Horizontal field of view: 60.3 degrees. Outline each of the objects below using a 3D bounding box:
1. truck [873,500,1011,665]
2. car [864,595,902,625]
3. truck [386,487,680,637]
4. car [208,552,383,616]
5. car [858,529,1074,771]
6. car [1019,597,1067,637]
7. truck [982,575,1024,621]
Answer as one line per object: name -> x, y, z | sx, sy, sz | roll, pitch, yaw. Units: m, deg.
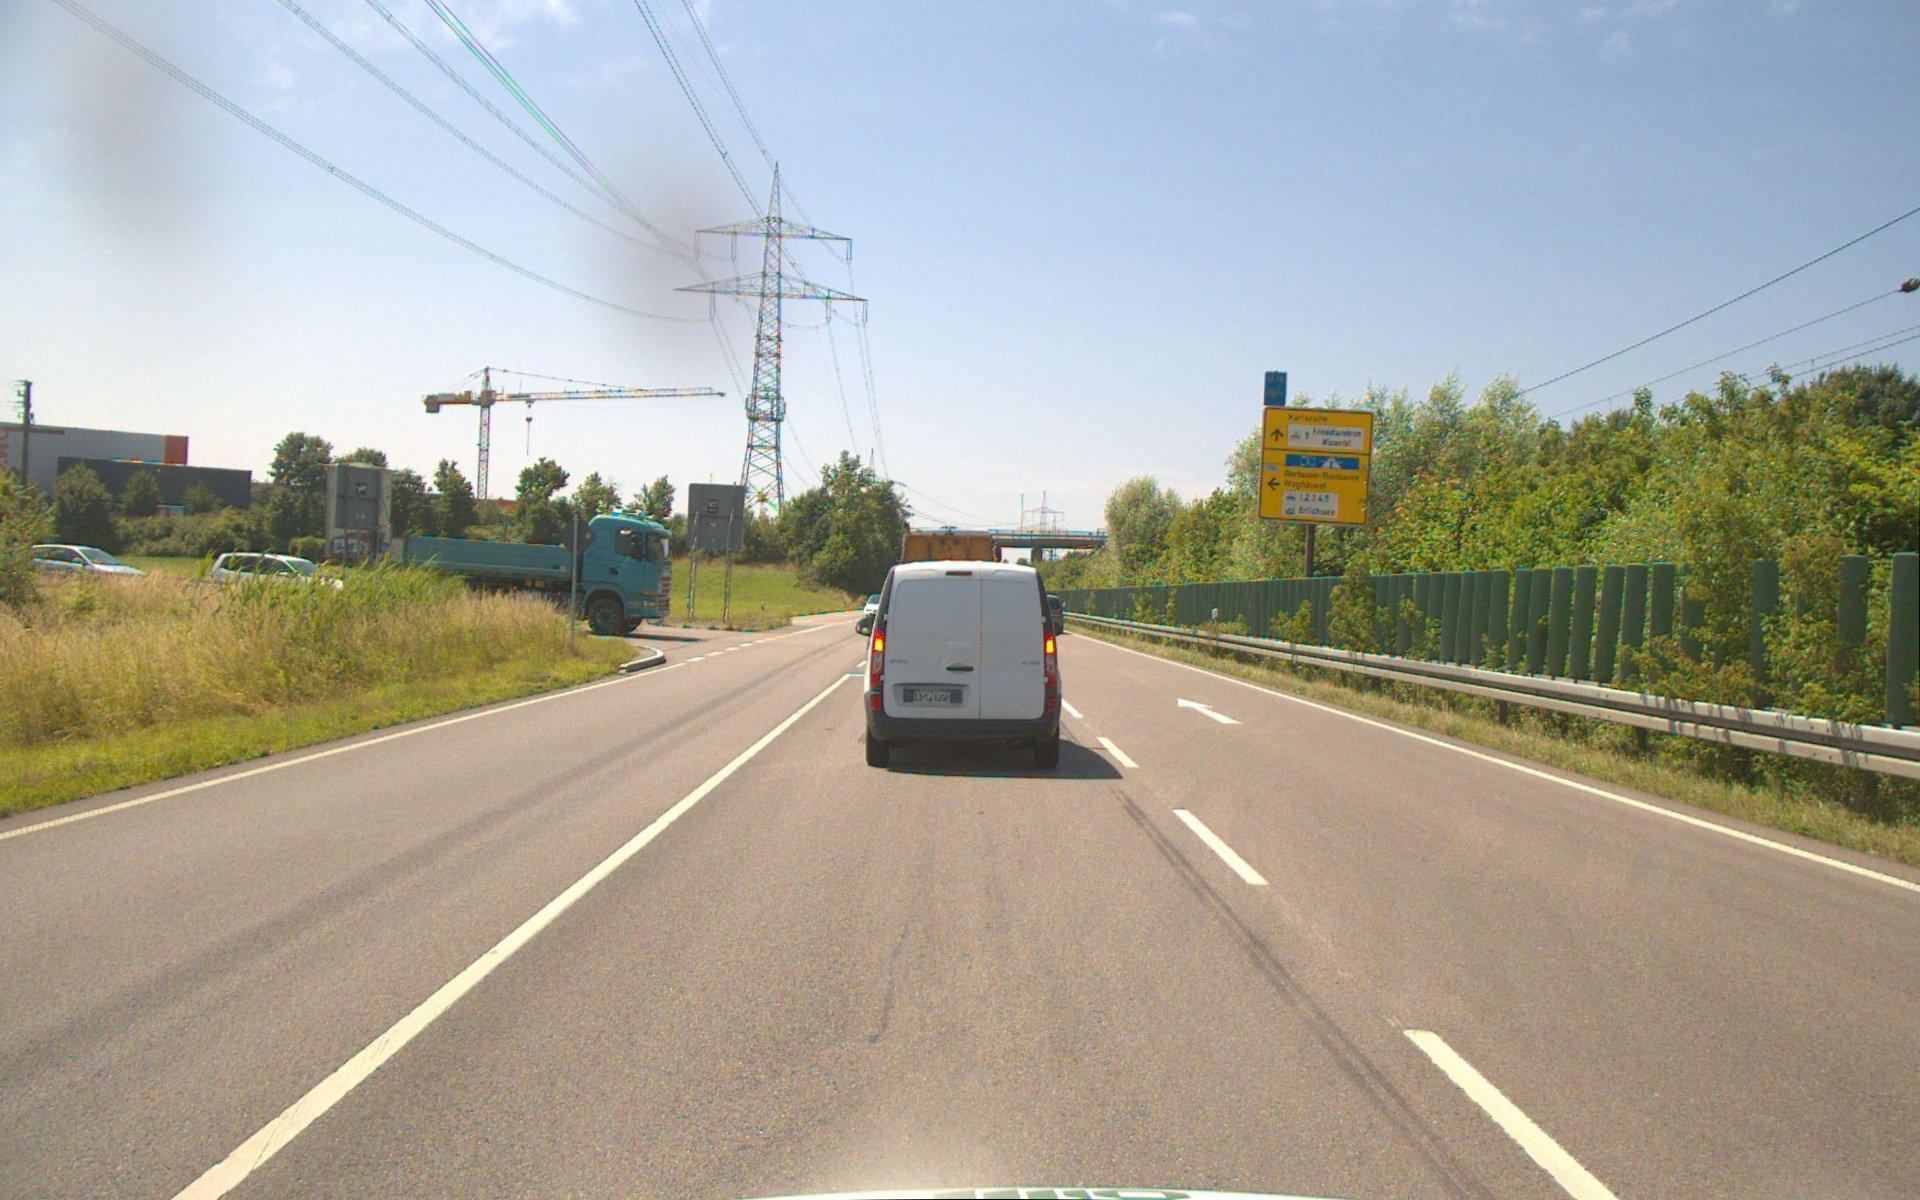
truck -> -0.367, -0.431, 38.966 | 2.762, 3.345, 9.701 | 1, 1, 0
car -> -3.956, 0.495, 85.491 | 1.690, 1.466, 4.249 | 3, 0, 0
truck -> -12.429, -1.101, 48.512 | 7.741, 3.799, 2.499 | 4, 0, 2
car -> -19.603, -0.457, 48.831 | 4.445, 1.640, 1.969 | 3, 0, 14
car -> 0.036, 0.414, 15.881 | 1.790, 2.005, 3.999 | 1, 0, -1
car -> 3.472, 0.684, 69.912 | 1.810, 1.601, 4.000 | 1, 0, 0
truck -> 2.712, -0.136, 106.208 | 2.326, 2.736, 8.009 | 2, 0, -1
